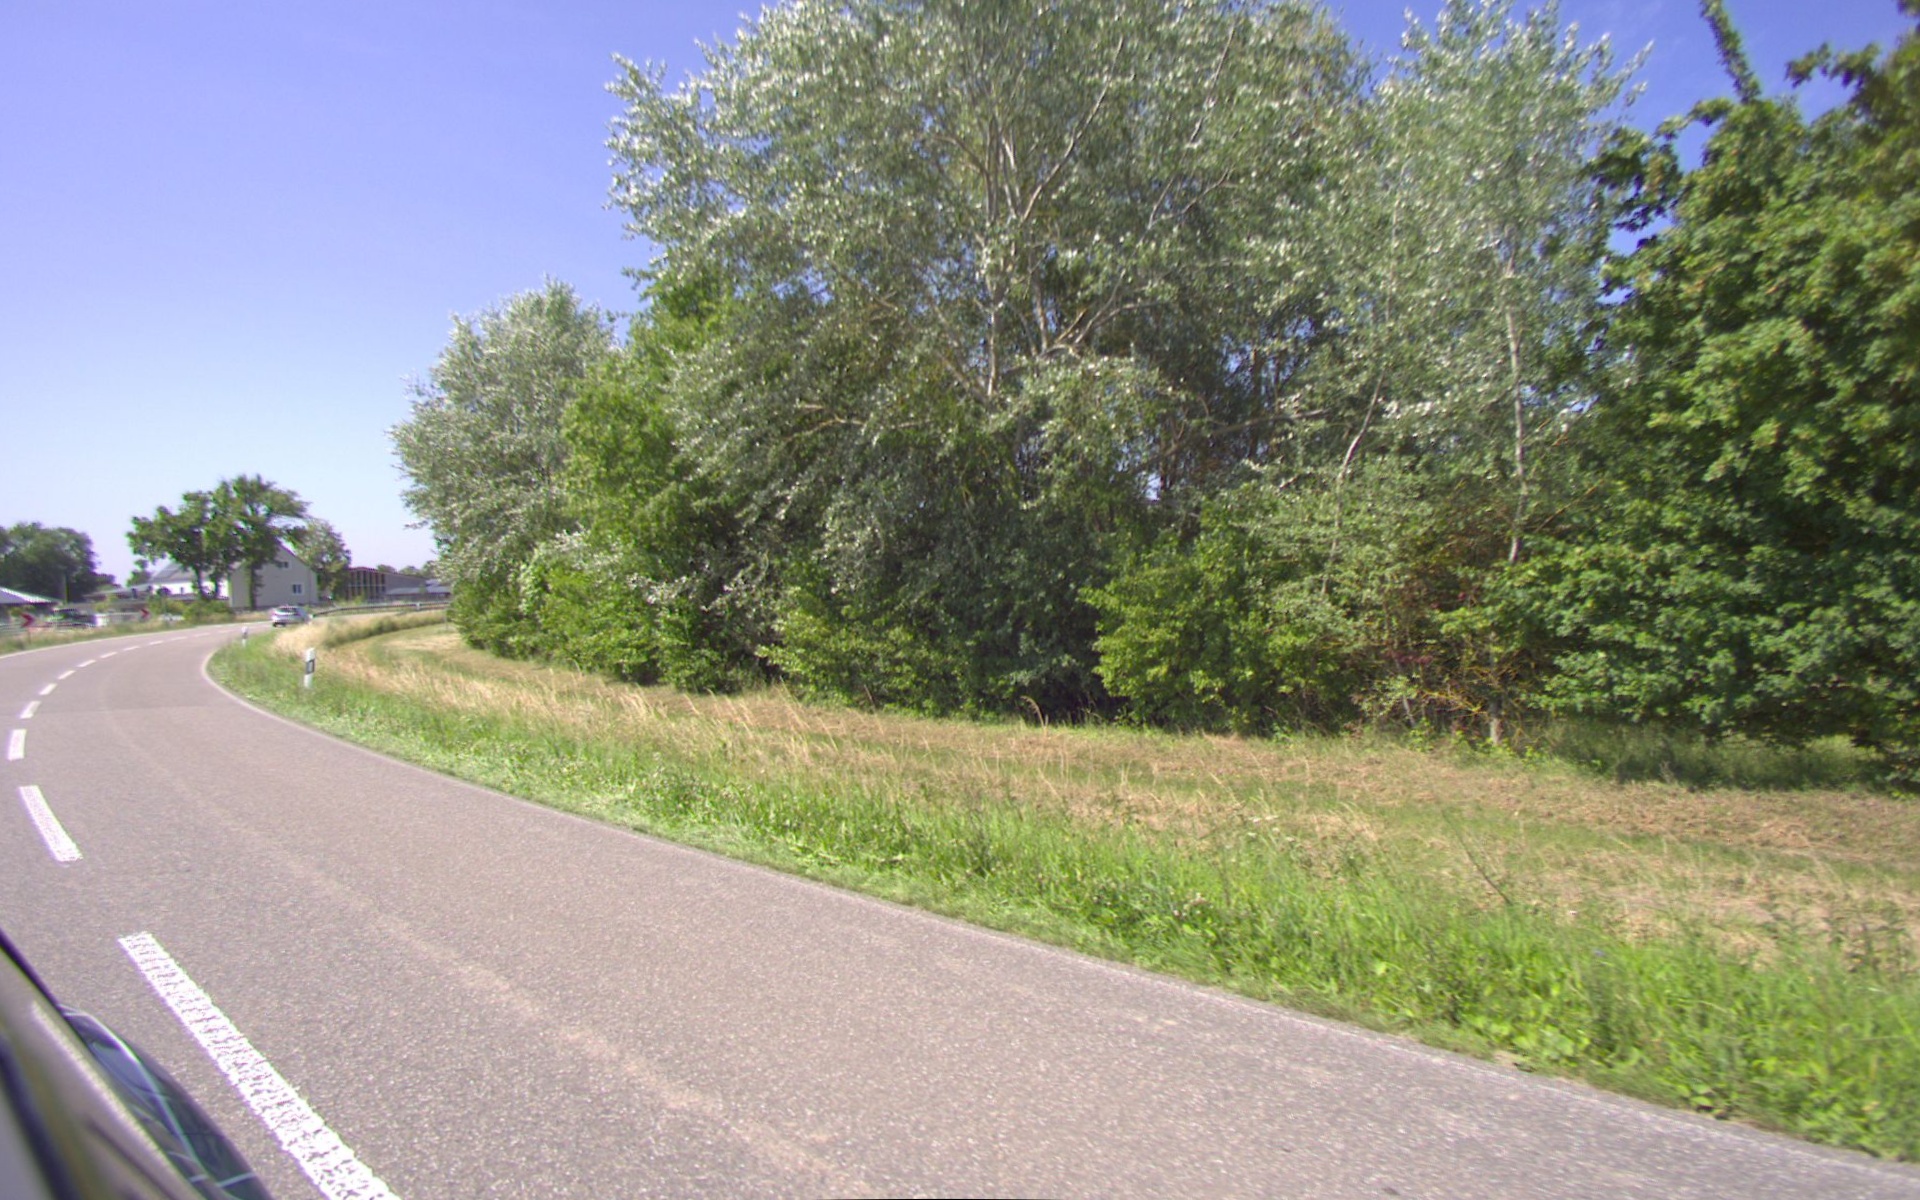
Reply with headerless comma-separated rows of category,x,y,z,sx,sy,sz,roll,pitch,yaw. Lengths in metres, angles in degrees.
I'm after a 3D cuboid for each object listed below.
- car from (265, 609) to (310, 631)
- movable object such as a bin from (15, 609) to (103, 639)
car,-47.101,1.376,70.940,1.758,1.438,4.073,2,-1,-21
movable object such as a bin,-98.433,2.563,110.679,2.984,2.790,6.474,-3,1,15
